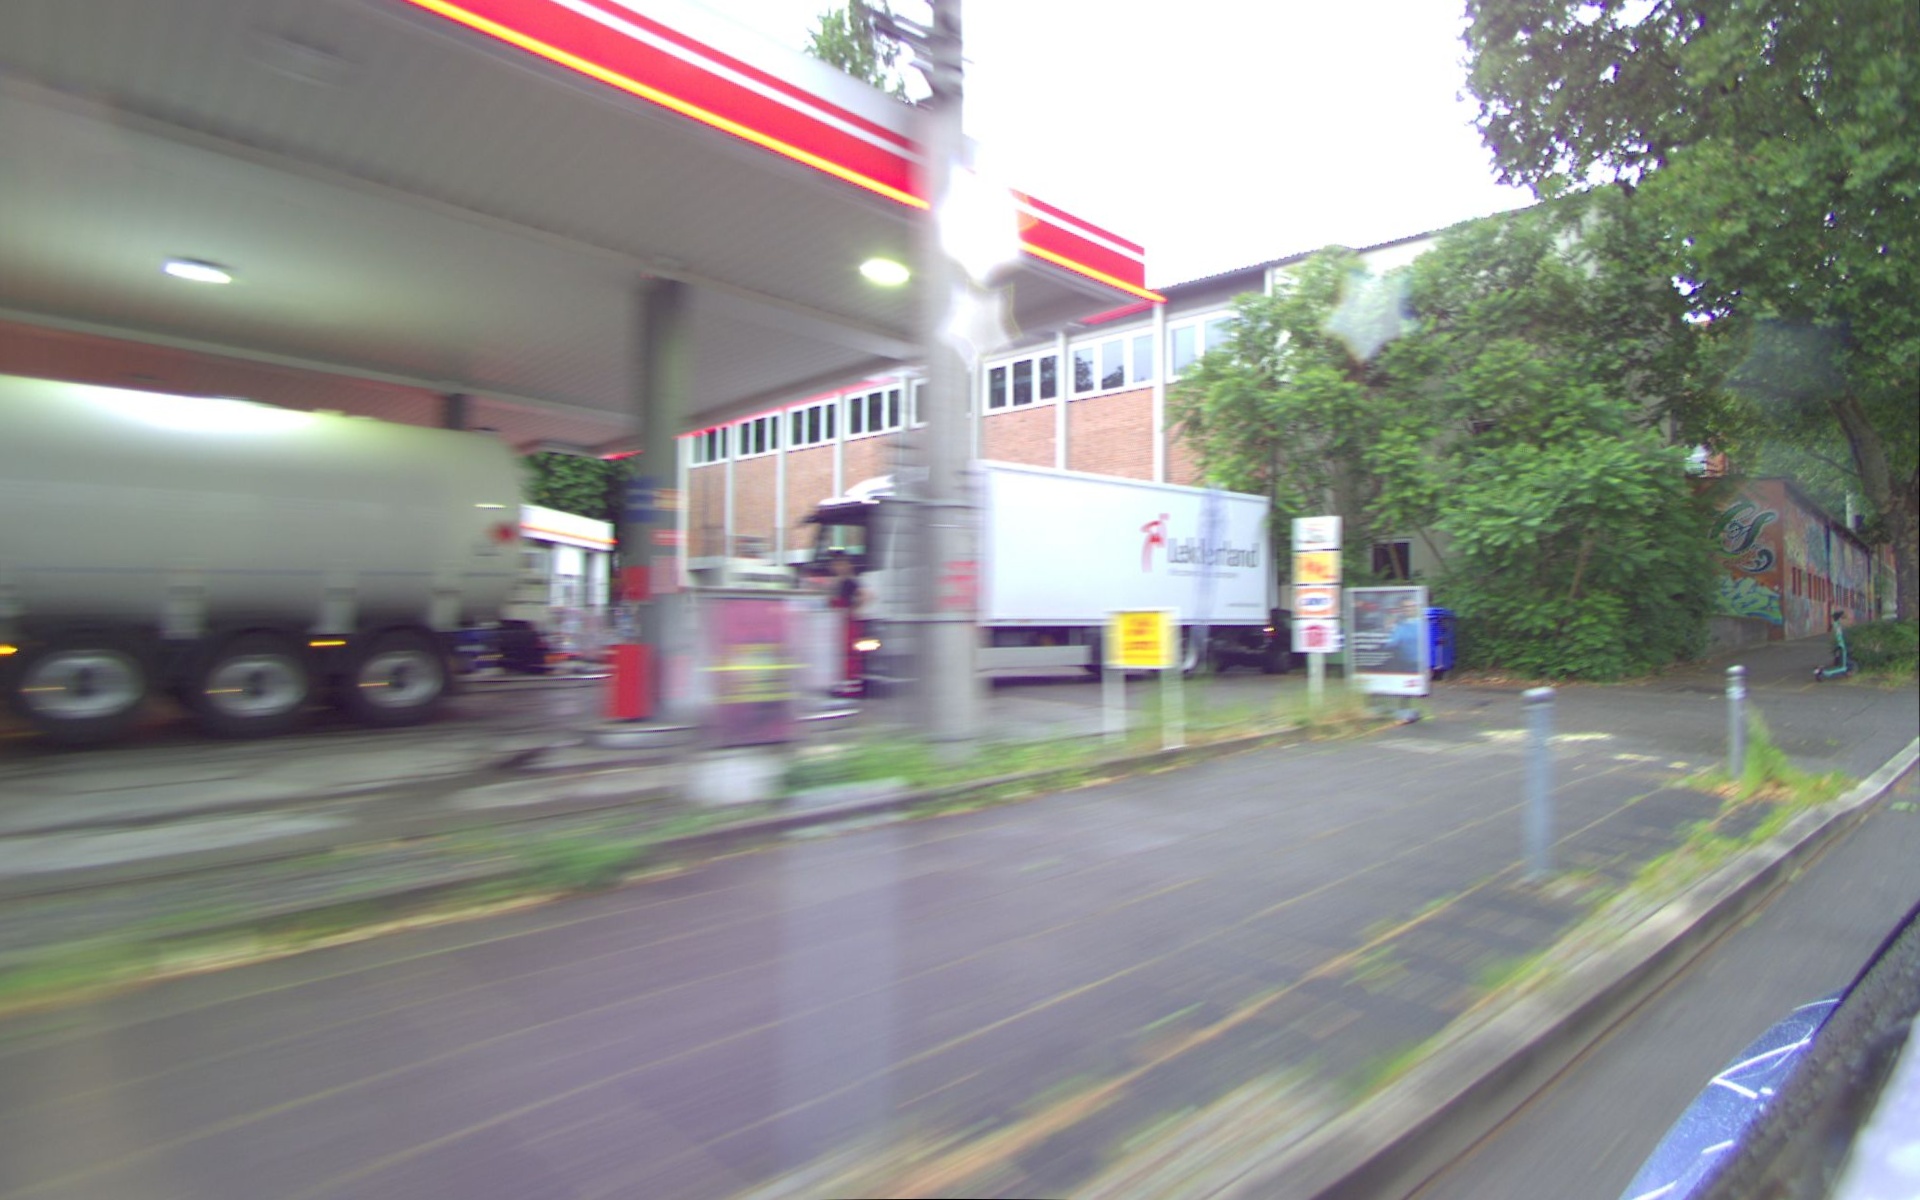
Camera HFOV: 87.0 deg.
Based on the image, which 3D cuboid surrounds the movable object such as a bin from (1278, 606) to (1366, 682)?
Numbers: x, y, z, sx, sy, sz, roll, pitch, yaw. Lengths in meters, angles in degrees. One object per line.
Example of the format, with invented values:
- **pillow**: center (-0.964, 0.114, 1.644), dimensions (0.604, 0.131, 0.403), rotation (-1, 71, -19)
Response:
- **movable object such as a bin**: center (7.143, 0.836, 19.979), dimensions (1.054, 1.418, 1.285), rotation (1, 0, -40)

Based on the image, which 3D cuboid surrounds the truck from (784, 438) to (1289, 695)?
- **truck**: center (1.912, -0.528, 18.388), dimensions (10.069, 3.614, 2.660), rotation (-1, 1, -39)

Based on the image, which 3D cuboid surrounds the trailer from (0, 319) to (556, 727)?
- **trailer**: center (-9.113, -0.659, 9.464), dimensions (2.804, 3.438, 9.682), rotation (0, 1, 43)

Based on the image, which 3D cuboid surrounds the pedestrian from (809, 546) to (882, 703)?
- **pedestrian**: center (-1.572, 0.313, 13.831), dimensions (0.640, 2.066, 0.809), rotation (1, 0, -41)

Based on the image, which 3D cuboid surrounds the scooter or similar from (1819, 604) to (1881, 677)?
- **scooter or similar**: center (16.031, 0.713, 18.225), dimensions (1.336, 1.207, 0.401), rotation (-3, 2, -29)
